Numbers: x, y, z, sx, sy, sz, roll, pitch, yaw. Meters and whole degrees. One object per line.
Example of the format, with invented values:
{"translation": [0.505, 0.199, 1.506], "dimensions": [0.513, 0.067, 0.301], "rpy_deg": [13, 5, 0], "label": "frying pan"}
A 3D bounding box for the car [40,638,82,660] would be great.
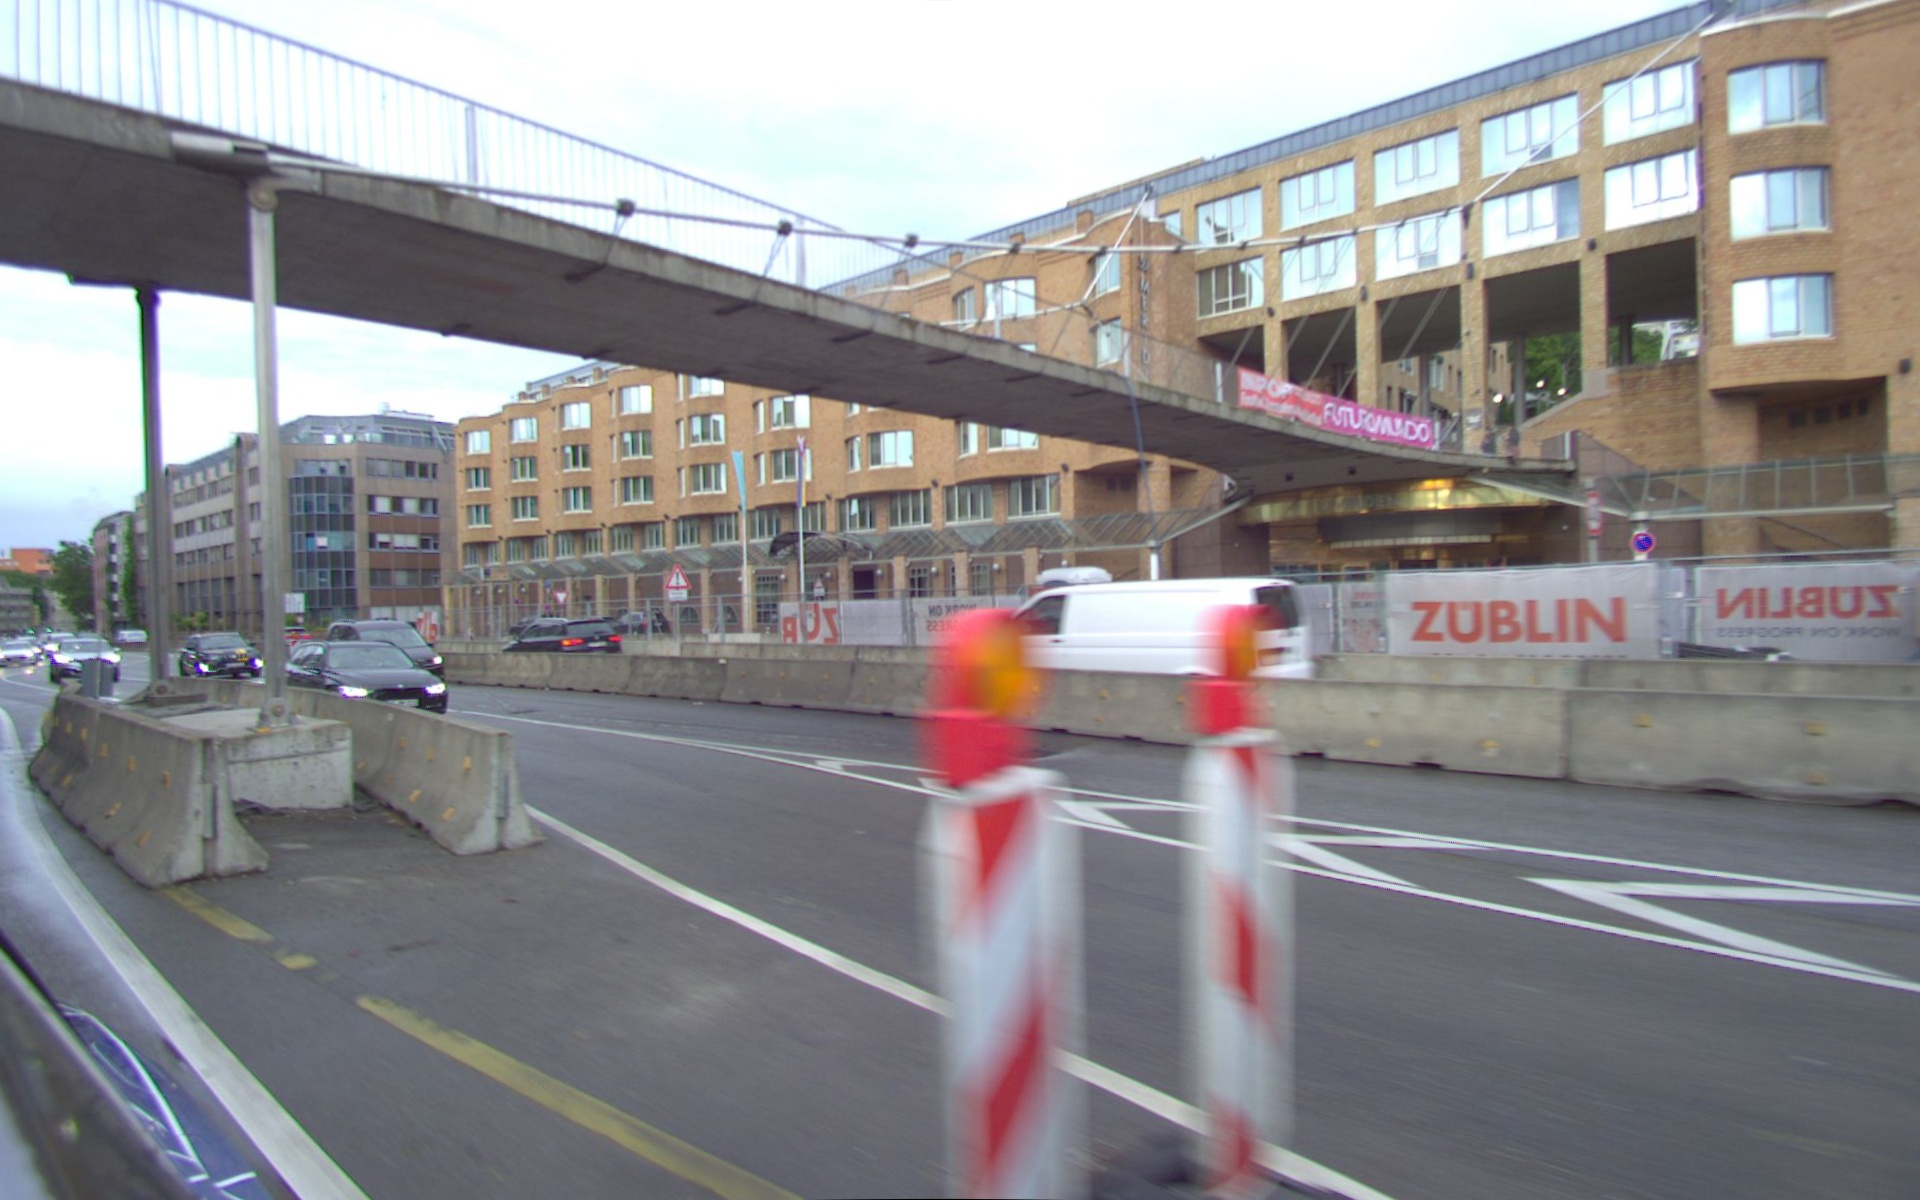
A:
{"translation": [-68.546, 3.710, 77.164], "dimensions": [4.653, 1.545, 1.750], "rpy_deg": [-3, -1, 41], "label": "car"}

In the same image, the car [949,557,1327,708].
{"translation": [2.377, 0.502, 14.818], "dimensions": [5.301, 1.835, 1.786], "rpy_deg": [-3, -2, 43], "label": "car"}

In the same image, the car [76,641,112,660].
{"translation": [-76.473, 4.473, 89.332], "dimensions": [4.653, 1.545, 1.750], "rpy_deg": [-3, -1, 41], "label": "car"}

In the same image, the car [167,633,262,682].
{"translation": [-26.104, 1.989, 35.383], "dimensions": [4.354, 1.545, 1.749], "rpy_deg": [-3, -1, 41], "label": "car"}

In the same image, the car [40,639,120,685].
{"translation": [-32.821, 2.274, 37.699], "dimensions": [4.656, 1.545, 1.748], "rpy_deg": [-3, -1, 43], "label": "car"}

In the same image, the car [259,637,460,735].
{"translation": [-10.836, 1.452, 18.126], "dimensions": [4.654, 1.454, 1.749], "rpy_deg": [-3, -1, 42], "label": "car"}

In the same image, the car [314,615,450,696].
{"translation": [-14.603, 1.352, 25.468], "dimensions": [4.251, 1.814, 1.775], "rpy_deg": [-2, 0, 43], "label": "car"}

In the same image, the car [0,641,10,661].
{"translation": [-77.685, 4.114, 81.080], "dimensions": [4.653, 1.545, 1.750], "rpy_deg": [-3, -1, 41], "label": "car"}

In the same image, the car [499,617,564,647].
{"translation": [-29.486, 2.183, 69.616], "dimensions": [5.008, 1.900, 1.974], "rpy_deg": [-3, -1, 39], "label": "car"}

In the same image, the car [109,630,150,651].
{"translation": [-79.072, 3.866, 96.367], "dimensions": [4.863, 1.899, 1.975], "rpy_deg": [-2, -1, 38], "label": "car"}

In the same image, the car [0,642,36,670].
{"translation": [-57.328, 3.359, 61.454], "dimensions": [1.746, 1.545, 4.661], "rpy_deg": [-2, -1, -42], "label": "car"}

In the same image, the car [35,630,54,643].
{"translation": [-134.423, 5.312, 148.552], "dimensions": [4.879, 1.797, 1.864], "rpy_deg": [-3, -1, 45], "label": "car"}

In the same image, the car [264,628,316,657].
{"translation": [-39.897, 2.549, 60.206], "dimensions": [1.969, 1.635, 4.708], "rpy_deg": [-1, -2, -41], "label": "car"}

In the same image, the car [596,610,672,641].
{"translation": [-19.844, 1.570, 61.588], "dimensions": [5.045, 1.703, 1.974], "rpy_deg": [-3, -1, 40], "label": "car"}

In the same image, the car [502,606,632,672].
{"translation": [-10.629, 1.074, 27.247], "dimensions": [3.904, 1.635, 1.785], "rpy_deg": [-4, -2, 44], "label": "car"}
